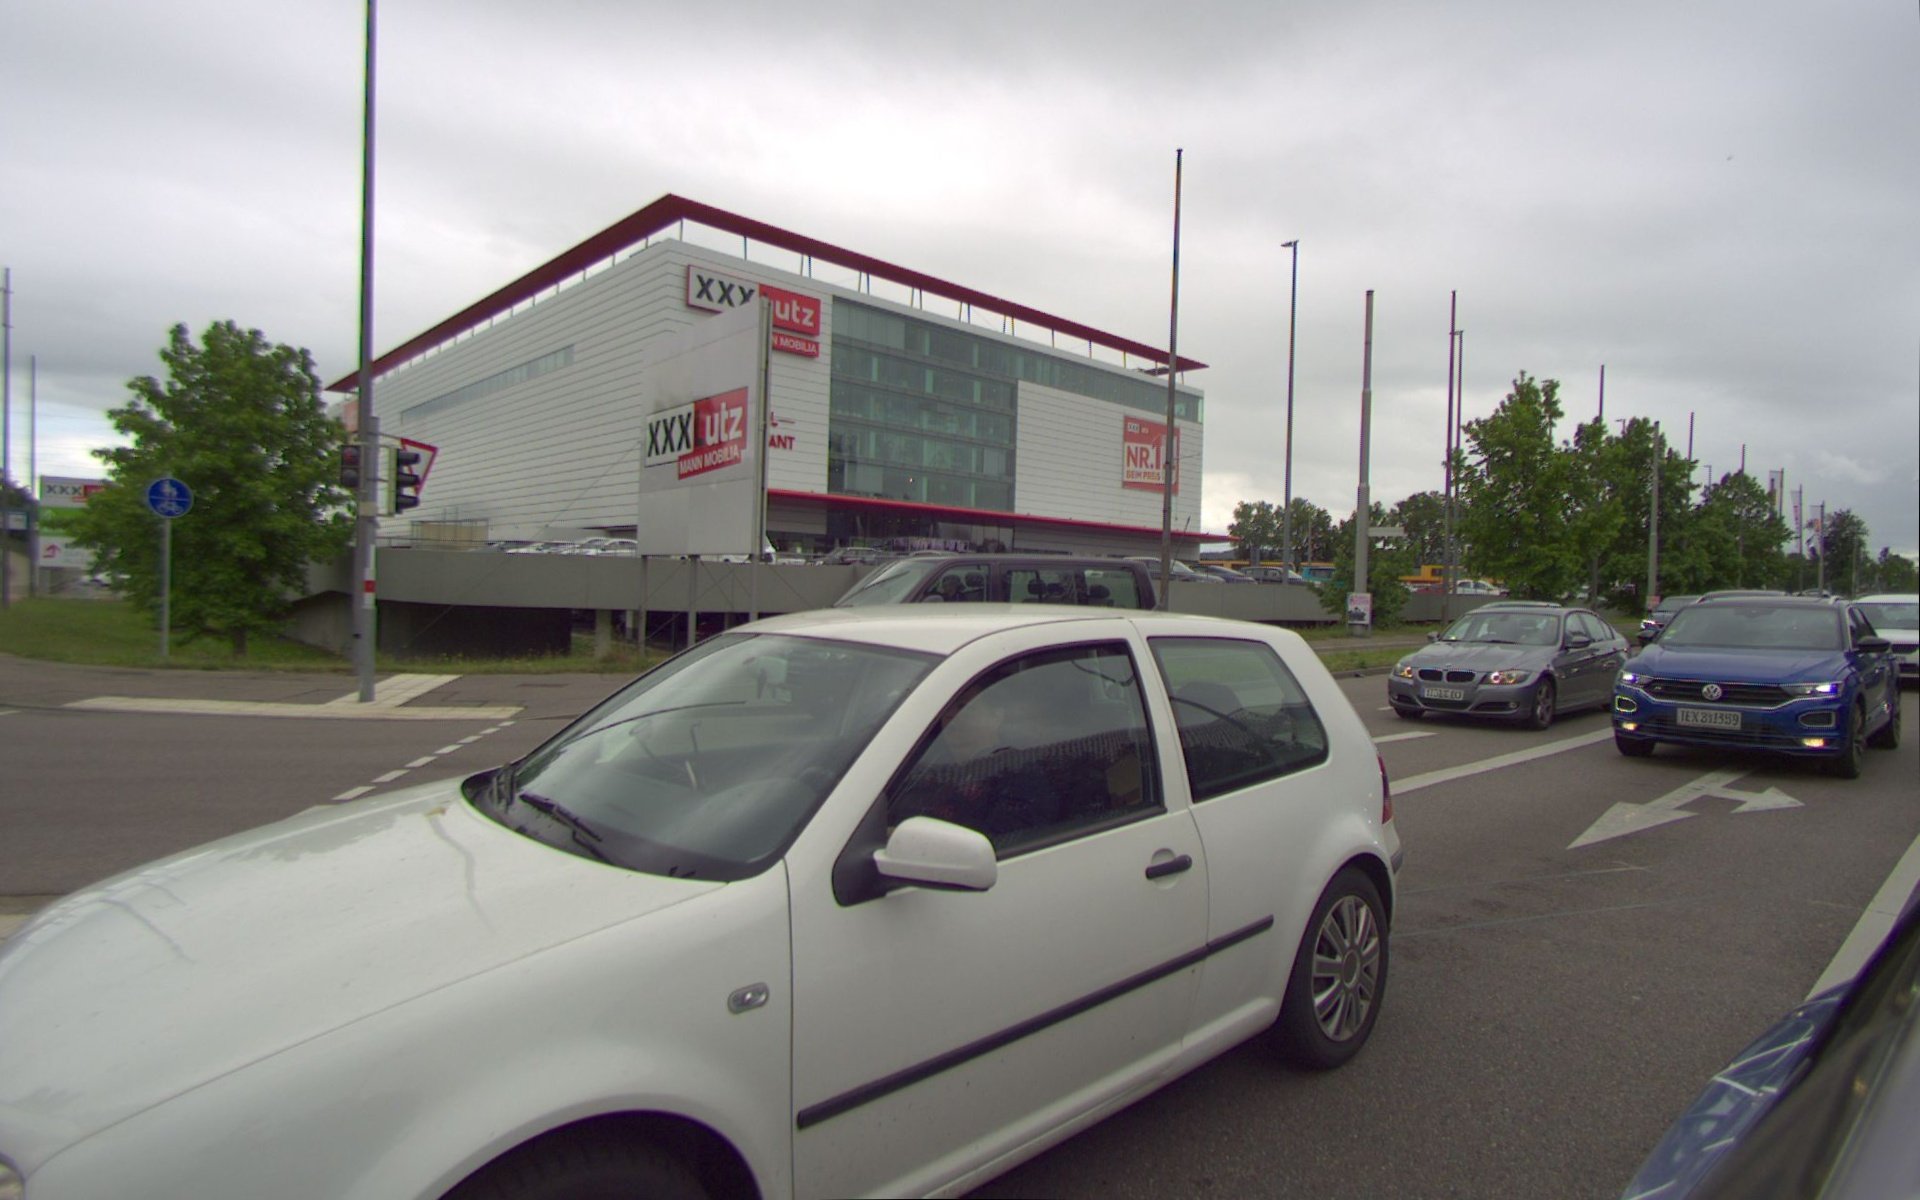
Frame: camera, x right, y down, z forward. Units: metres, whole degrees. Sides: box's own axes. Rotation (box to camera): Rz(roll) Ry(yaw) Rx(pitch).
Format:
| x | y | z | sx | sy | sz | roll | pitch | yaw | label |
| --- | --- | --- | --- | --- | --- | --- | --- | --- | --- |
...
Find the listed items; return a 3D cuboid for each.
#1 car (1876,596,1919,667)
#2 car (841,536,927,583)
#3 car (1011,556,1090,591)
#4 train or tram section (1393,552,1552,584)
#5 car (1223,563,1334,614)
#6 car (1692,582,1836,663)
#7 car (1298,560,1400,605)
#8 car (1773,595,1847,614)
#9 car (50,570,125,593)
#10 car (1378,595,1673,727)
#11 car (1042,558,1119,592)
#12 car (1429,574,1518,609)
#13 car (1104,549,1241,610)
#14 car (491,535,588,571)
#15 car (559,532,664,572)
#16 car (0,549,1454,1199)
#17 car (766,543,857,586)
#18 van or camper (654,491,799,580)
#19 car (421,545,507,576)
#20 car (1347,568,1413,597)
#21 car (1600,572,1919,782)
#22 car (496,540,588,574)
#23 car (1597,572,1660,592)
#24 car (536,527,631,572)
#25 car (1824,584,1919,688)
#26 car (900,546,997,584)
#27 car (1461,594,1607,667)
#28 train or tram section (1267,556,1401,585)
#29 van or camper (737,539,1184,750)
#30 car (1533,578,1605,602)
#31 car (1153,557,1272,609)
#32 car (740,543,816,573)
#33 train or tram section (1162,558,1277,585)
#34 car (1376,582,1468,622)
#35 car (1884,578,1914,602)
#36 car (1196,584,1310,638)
| x | y | z | sx | sy | sz | roll | pitch | yaw | label |
| --- | --- | --- | --- | --- | --- | --- | --- | --- | --- |
| 21.915 | 0.654 | 22.573 | 4.147 | 1.433 | 1.799 | -1 | 0 | -42 | car |
| -3.464 | -1.813 | 45.999 | 1.840 | 1.972 | 3.857 | -1 | 0 | -45 | car |
| 4.898 | -1.412 | 55.074 | 1.967 | 1.761 | 3.989 | -1 | 0 | -44 | car |
| 82.848 | -5.021 | 164.611 | 3.574 | 4.899 | 23.221 | -1 | 1 | -45 | train or tram section |
| 13.310 | -0.474 | 42.382 | 1.967 | 2.039 | 3.990 | -1 | 0 | -44 | car |
| 18.098 | 0.439 | 22.702 | 4.299 | 1.645 | 1.797 | -1 | 0 | -41 | car |
| 18.173 | -0.793 | 47.343 | 1.967 | 2.039 | 3.990 | -1 | 0 | -44 | car |
| 65.650 | 0.332 | 78.196 | 1.772 | 1.433 | 4.210 | -1 | 0 | -42 | car |
| -64.418 | -1.371 | 74.826 | 4.121 | 1.630 | 1.721 | -1 | 0 | -38 | car |
| 7.535 | 0.705 | 13.272 | 4.790 | 1.429 | 1.815 | 1 | -1 | -40 | car |
| 6.739 | -1.370 | 56.844 | 1.967 | 1.761 | 3.989 | -1 | 0 | -44 | car |
| 30.529 | -0.499 | 60.187 | 1.967 | 2.039 | 4.315 | -1 | 0 | -44 | car |
| 7.612 | -0.696 | 36.524 | 1.967 | 2.039 | 4.520 | -1 | 0 | -44 | car |
| -21.227 | -2.327 | 51.169 | 4.187 | 1.697 | 1.773 | -1 | 0 | -42 | car |
| -15.999 | -2.166 | 46.554 | 4.187 | 1.697 | 1.773 | -1 | 0 | -42 | car |
| -0.314 | 0.670 | 2.969 | 3.936 | 1.496 | 1.835 | -1 | 0 | -42 | car |
| -7.435 | -1.725 | 50.771 | 4.108 | 2.039 | 1.997 | -1 | 0 | -41 | car |
| -9.735 | -2.497 | 41.603 | 2.668 | 3.175 | 7.223 | -1 | 0 | -41 | van or camper |
| -28.884 | -2.277 | 59.012 | 4.187 | 1.697 | 1.773 | -1 | 0 | -42 | car |
| 30.475 | -1.231 | 73.504 | 1.967 | 2.039 | 3.990 | -1 | 0 | -44 | car |
| 8.089 | 0.573 | 10.010 | 4.257 | 1.642 | 1.845 | -1 | 0 | -41 | car |
| -22.169 | -2.259 | 53.799 | 4.187 | 1.697 | 1.773 | -1 | 0 | -42 | car |
| 54.887 | -1.441 | 83.104 | 1.766 | 1.585 | 3.992 | -1 | 0 | -41 | car |
| -18.397 | -2.432 | 49.523 | 3.930 | 2.039 | 1.997 | -1 | 0 | -41 | car |
| 16.839 | 0.556 | 17.880 | 4.299 | 1.645 | 1.797 | -1 | 0 | -41 | car |
| -0.529 | -1.446 | 42.867 | 1.840 | 1.455 | 3.982 | -1 | 0 | -45 | car |
| 12.281 | 0.588 | 21.576 | 3.862 | 1.389 | 1.690 | -1 | 0 | -44 | car |
| 66.538 | -5.169 | 181.102 | 3.574 | 4.899 | 23.221 | -1 | 1 | -45 | train or tram section |
| 0.073 | 0.390 | 11.956 | 4.845 | 2.039 | 2.166 | -1 | 0 | -31 | van or camper |
| 42.685 | -0.682 | 70.979 | 1.766 | 1.585 | 3.992 | -1 | 0 | -41 | car |
| 9.600 | -0.612 | 38.699 | 1.967 | 1.872 | 3.989 | -1 | 0 | -44 | car |
| -10.863 | -2.466 | 60.649 | 4.187 | 1.697 | 1.773 | -1 | 0 | -42 | car |
| 50.269 | -5.472 | 197.540 | 3.574 | 4.899 | 23.221 | -1 | 1 | -45 | train or tram section |
| 24.437 | 0.098 | 53.592 | 1.967 | 2.039 | 3.990 | -1 | 0 | -44 | car |
| 90.614 | -0.980 | 97.641 | 1.995 | 2.270 | 3.935 | 2 | 1 | 45 | car |
| 11.784 | 0.409 | 40.828 | 1.967 | 2.039 | 3.990 | -1 | 0 | -44 | car |
